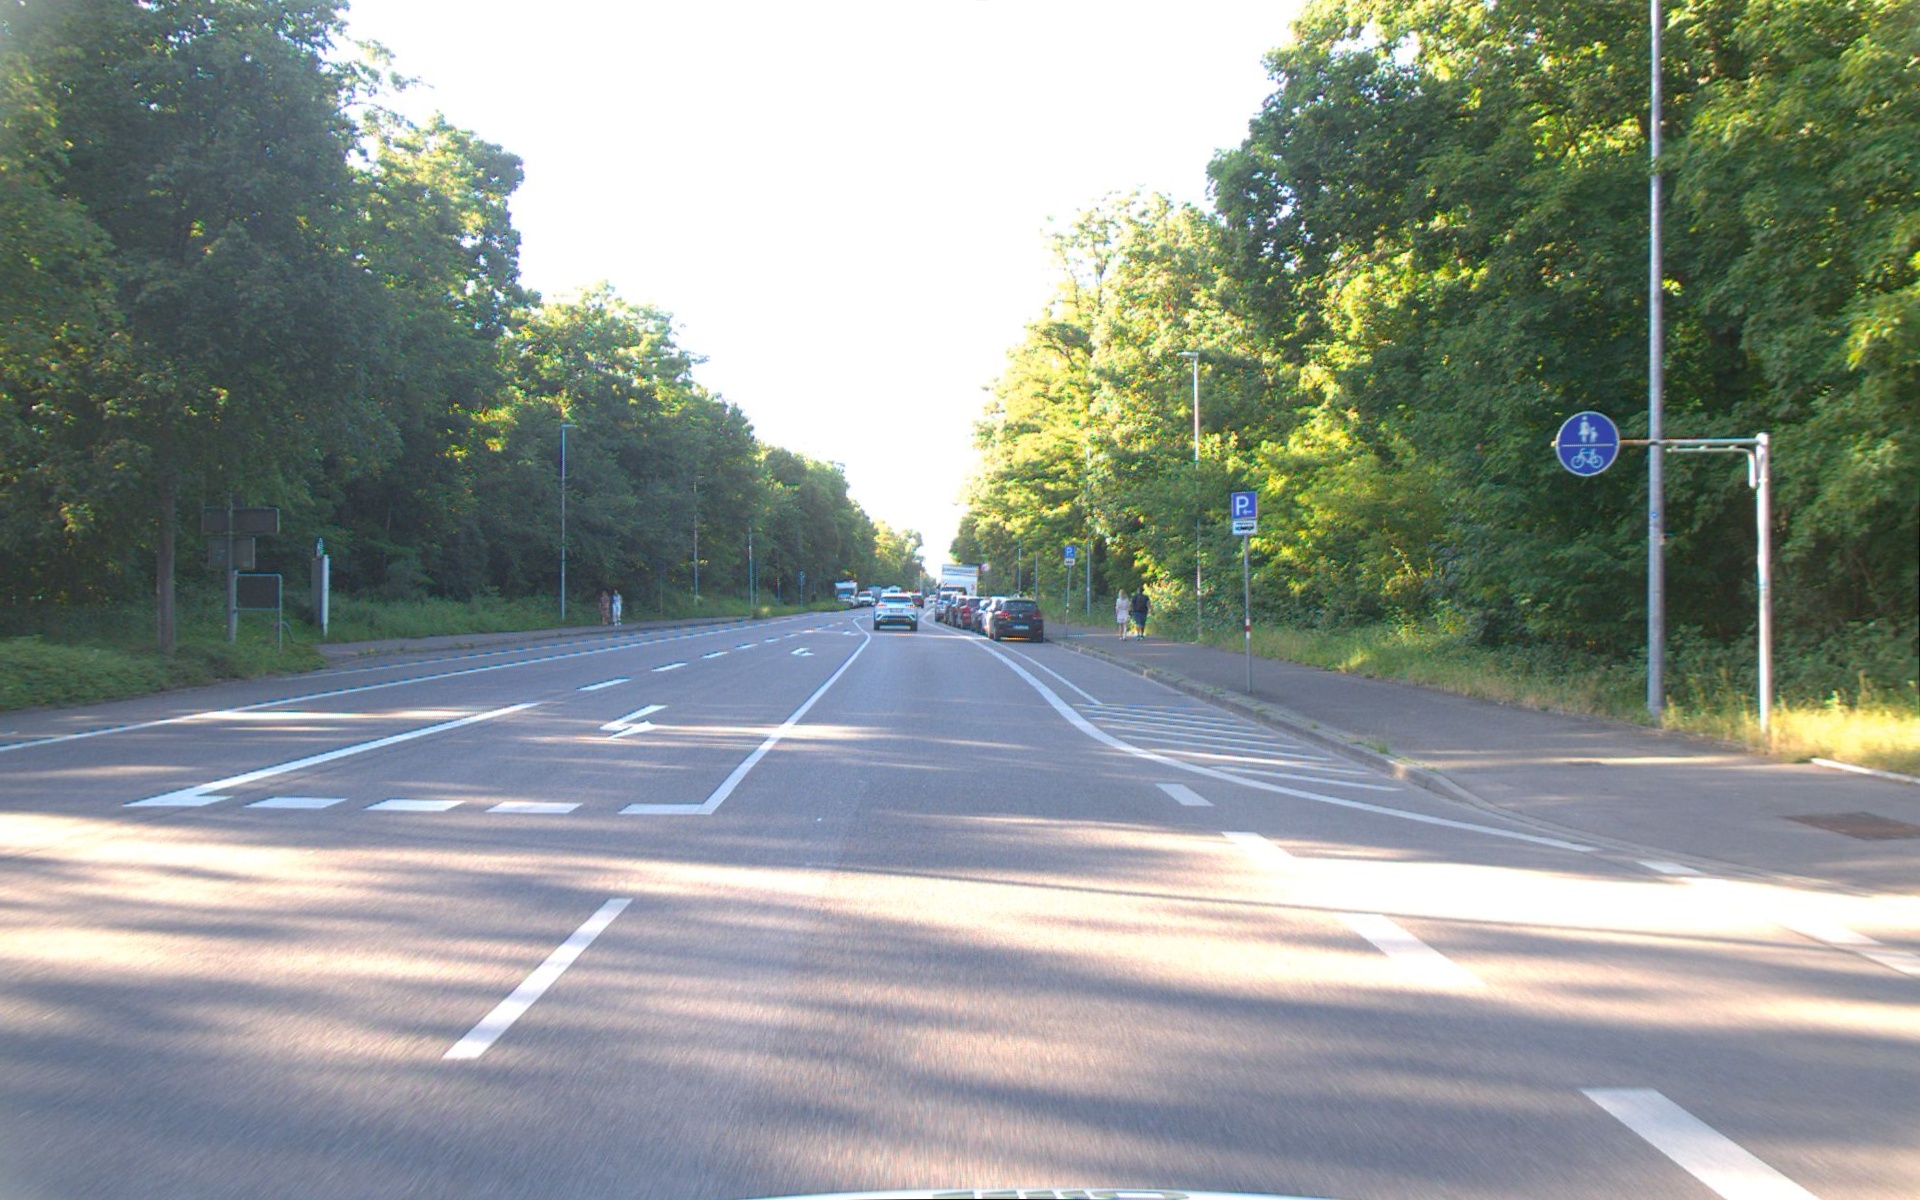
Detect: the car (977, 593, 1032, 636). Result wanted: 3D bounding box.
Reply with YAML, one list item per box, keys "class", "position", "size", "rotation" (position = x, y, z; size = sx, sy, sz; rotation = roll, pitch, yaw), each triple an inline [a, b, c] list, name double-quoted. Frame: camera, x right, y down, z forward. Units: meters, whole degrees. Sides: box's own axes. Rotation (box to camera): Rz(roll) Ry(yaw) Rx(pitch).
- class: "car"
  position: [1.644, 0.524, 62.683]
  size: [1.702, 1.551, 4.356]
  rotation: [0, 0, -4]

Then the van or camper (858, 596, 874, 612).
- class: "van or camper"
  position: [-11.602, 0.457, 204.945]
  size: [1.798, 1.945, 4.855]
  rotation: [-1, 0, -1]

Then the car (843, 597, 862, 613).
- class: "car"
  position: [-10.624, 0.487, 164.143]
  size: [1.791, 1.501, 4.678]
  rotation: [-1, 0, -3]

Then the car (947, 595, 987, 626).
- class: "car"
  position: [0.314, 0.501, 79.610]
  size: [1.563, 1.425, 3.795]
  rotation: [1, 0, -5]

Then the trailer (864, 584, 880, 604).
- class: "trailer"
  position: [-12.125, -0.787, 227.739]
  size: [1.953, 2.643, 4.415]
  rotation: [-2, 0, 0]

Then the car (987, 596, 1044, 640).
- class: "car"
  position: [1.926, 0.603, 58.407]
  size: [1.624, 1.477, 4.017]
  rotation: [0, 0, -4]

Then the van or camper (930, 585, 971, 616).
- class: "van or camper"
  position: [-0.897, 0.000, 155.216]
  size: [2.389, 2.849, 6.562]
  rotation: [0, 0, 13]

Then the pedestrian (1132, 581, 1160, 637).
- class: "pedestrian"
  position: [6.152, 0.288, 54.690]
  size: [0.662, 1.830, 0.952]
  rotation: [-2, 0, -6]

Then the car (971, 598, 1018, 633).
- class: "car"
  position: [1.384, 0.625, 68.213]
  size: [1.596, 1.342, 3.837]
  rotation: [1, 0, -4]

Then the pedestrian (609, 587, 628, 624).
- class: "pedestrian"
  position: [-15.562, 0.253, 75.346]
  size: [0.660, 1.682, 0.790]
  rotation: [0, 0, 4]

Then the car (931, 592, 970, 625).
- class: "car"
  position: [-0.502, 0.415, 84.877]
  size: [1.771, 1.545, 4.501]
  rotation: [2, 0, -3]

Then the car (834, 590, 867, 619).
- class: "car"
  position: [-6.262, 0.235, 94.973]
  size: [1.771, 1.545, 4.501]
  rotation: [2, 0, -3]

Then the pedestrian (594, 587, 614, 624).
- class: "pedestrian"
  position: [-16.228, 0.231, 75.388]
  size: [0.660, 1.682, 0.790]
  rotation: [0, 0, 4]

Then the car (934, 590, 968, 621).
- class: "car"
  position: [-0.477, 0.296, 89.580]
  size: [1.762, 1.623, 4.029]
  rotation: [0, 0, 0]

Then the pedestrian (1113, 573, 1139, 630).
- class: "pedestrian"
  position: [5.464, 0.055, 54.495]
  size: [0.662, 1.830, 0.789]
  rotation: [-2, 0, -6]

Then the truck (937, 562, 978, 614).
- class: "truck"
  position: [-0.219, -0.842, 117.882]
  size: [2.775, 3.559, 8.576]
  rotation: [0, 0, -1]

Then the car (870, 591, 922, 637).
- class: "car"
  position: [-2.647, 0.558, 68.961]
  size: [1.987, 1.872, 4.029]
  rotation: [0, 0, 0]

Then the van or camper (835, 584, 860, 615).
- class: "van or camper"
  position: [-11.650, -0.081, 171.614]
  size: [2.268, 3.022, 7.107]
  rotation: [-2, 0, -3]

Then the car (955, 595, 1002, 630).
- class: "car"
  position: [0.806, 0.537, 74.089]
  size: [1.585, 1.494, 3.719]
  rotation: [2, 0, -6]
